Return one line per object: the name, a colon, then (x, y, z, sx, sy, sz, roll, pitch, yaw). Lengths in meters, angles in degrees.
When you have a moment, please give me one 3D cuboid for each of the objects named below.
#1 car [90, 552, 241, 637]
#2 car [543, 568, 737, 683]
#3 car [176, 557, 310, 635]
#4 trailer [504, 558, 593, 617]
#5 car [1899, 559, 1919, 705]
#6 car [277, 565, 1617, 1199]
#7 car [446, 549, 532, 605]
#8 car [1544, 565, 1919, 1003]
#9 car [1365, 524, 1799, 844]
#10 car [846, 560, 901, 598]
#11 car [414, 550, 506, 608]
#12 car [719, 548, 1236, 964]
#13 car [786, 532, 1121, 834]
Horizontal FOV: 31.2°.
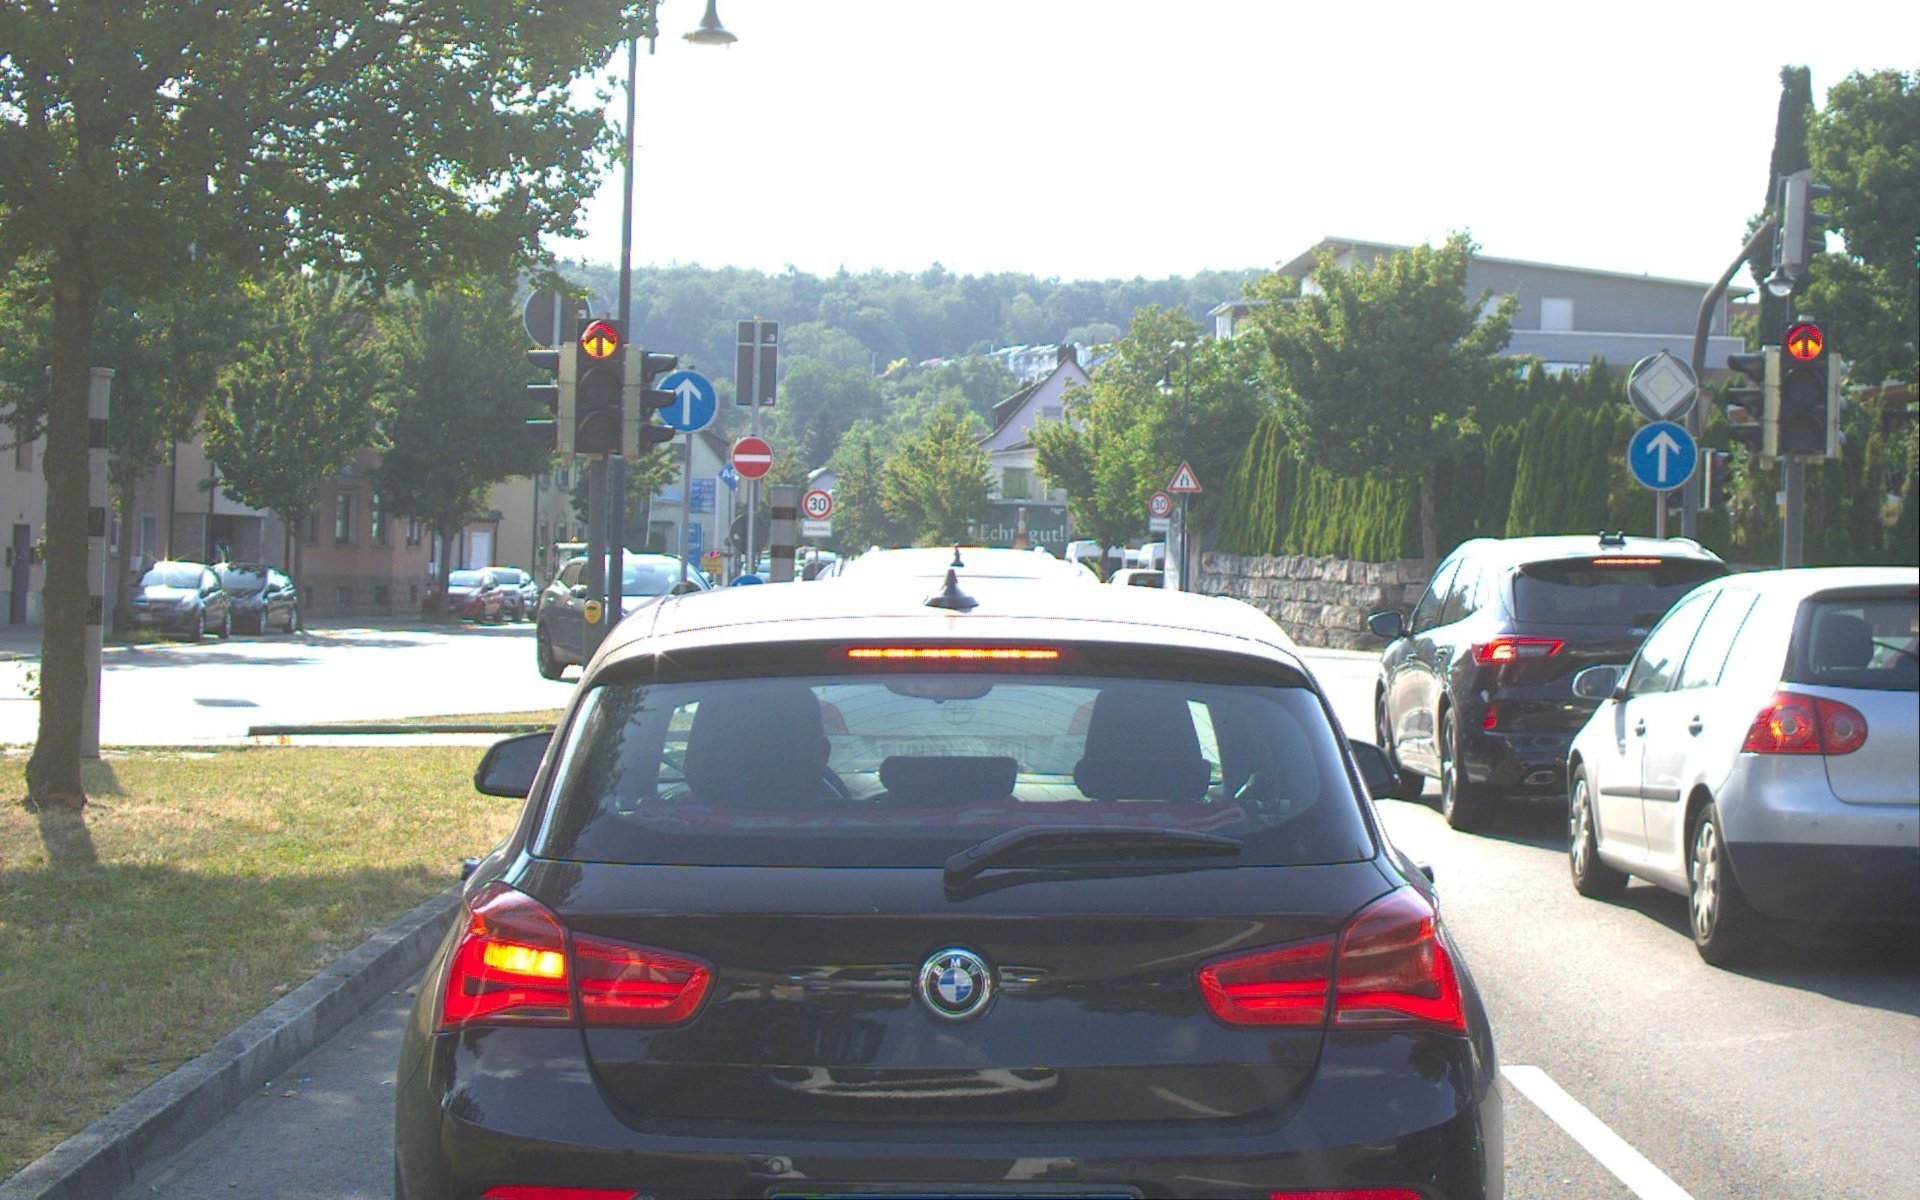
car: (-15.460, -0.132, 67.077, 1.924, 1.590, 4.000, 1, 1, 1)
car: (-4.139, 0.295, 43.951, 1.692, 1.348, 4.001, 1, 1, -17)
car: (-15.220, -0.109, 73.123, 1.924, 1.590, 4.000, 1, 1, 1)
trailer: (-11.367, -0.358, 95.177, 1.993, 1.546, 4.000, 1, 1, -1)
car: (11.608, 0.341, 34.633, 3.989, 1.453, 1.771, 1, 1, 11)
car: (0.012, 0.657, 6.789, 1.791, 1.410, 4.347, 1, 1, 1)
car: (-14.060, -0.704, 102.808, 1.924, 1.590, 4.000, 1, 1, 1)
car: (3.583, 0.602, 13.715, 1.816, 1.441, 4.347, 1, 1, 1)
car: (3.527, 0.407, 20.245, 1.816, 1.660, 4.347, 1, 1, 1)
car: (-3.584, -0.875, 141.857, 1.861, 1.480, 4.660, 1, 1, -6)
car: (-14.126, -0.616, 97.303, 1.924, 1.590, 4.000, 1, 1, 1)
car: (0.097, 0.520, 14.292, 1.816, 1.446, 4.242, 1, 1, 1)
car: (-0.001, 0.419, 20.964, 1.816, 1.635, 4.242, 1, 1, 1)
